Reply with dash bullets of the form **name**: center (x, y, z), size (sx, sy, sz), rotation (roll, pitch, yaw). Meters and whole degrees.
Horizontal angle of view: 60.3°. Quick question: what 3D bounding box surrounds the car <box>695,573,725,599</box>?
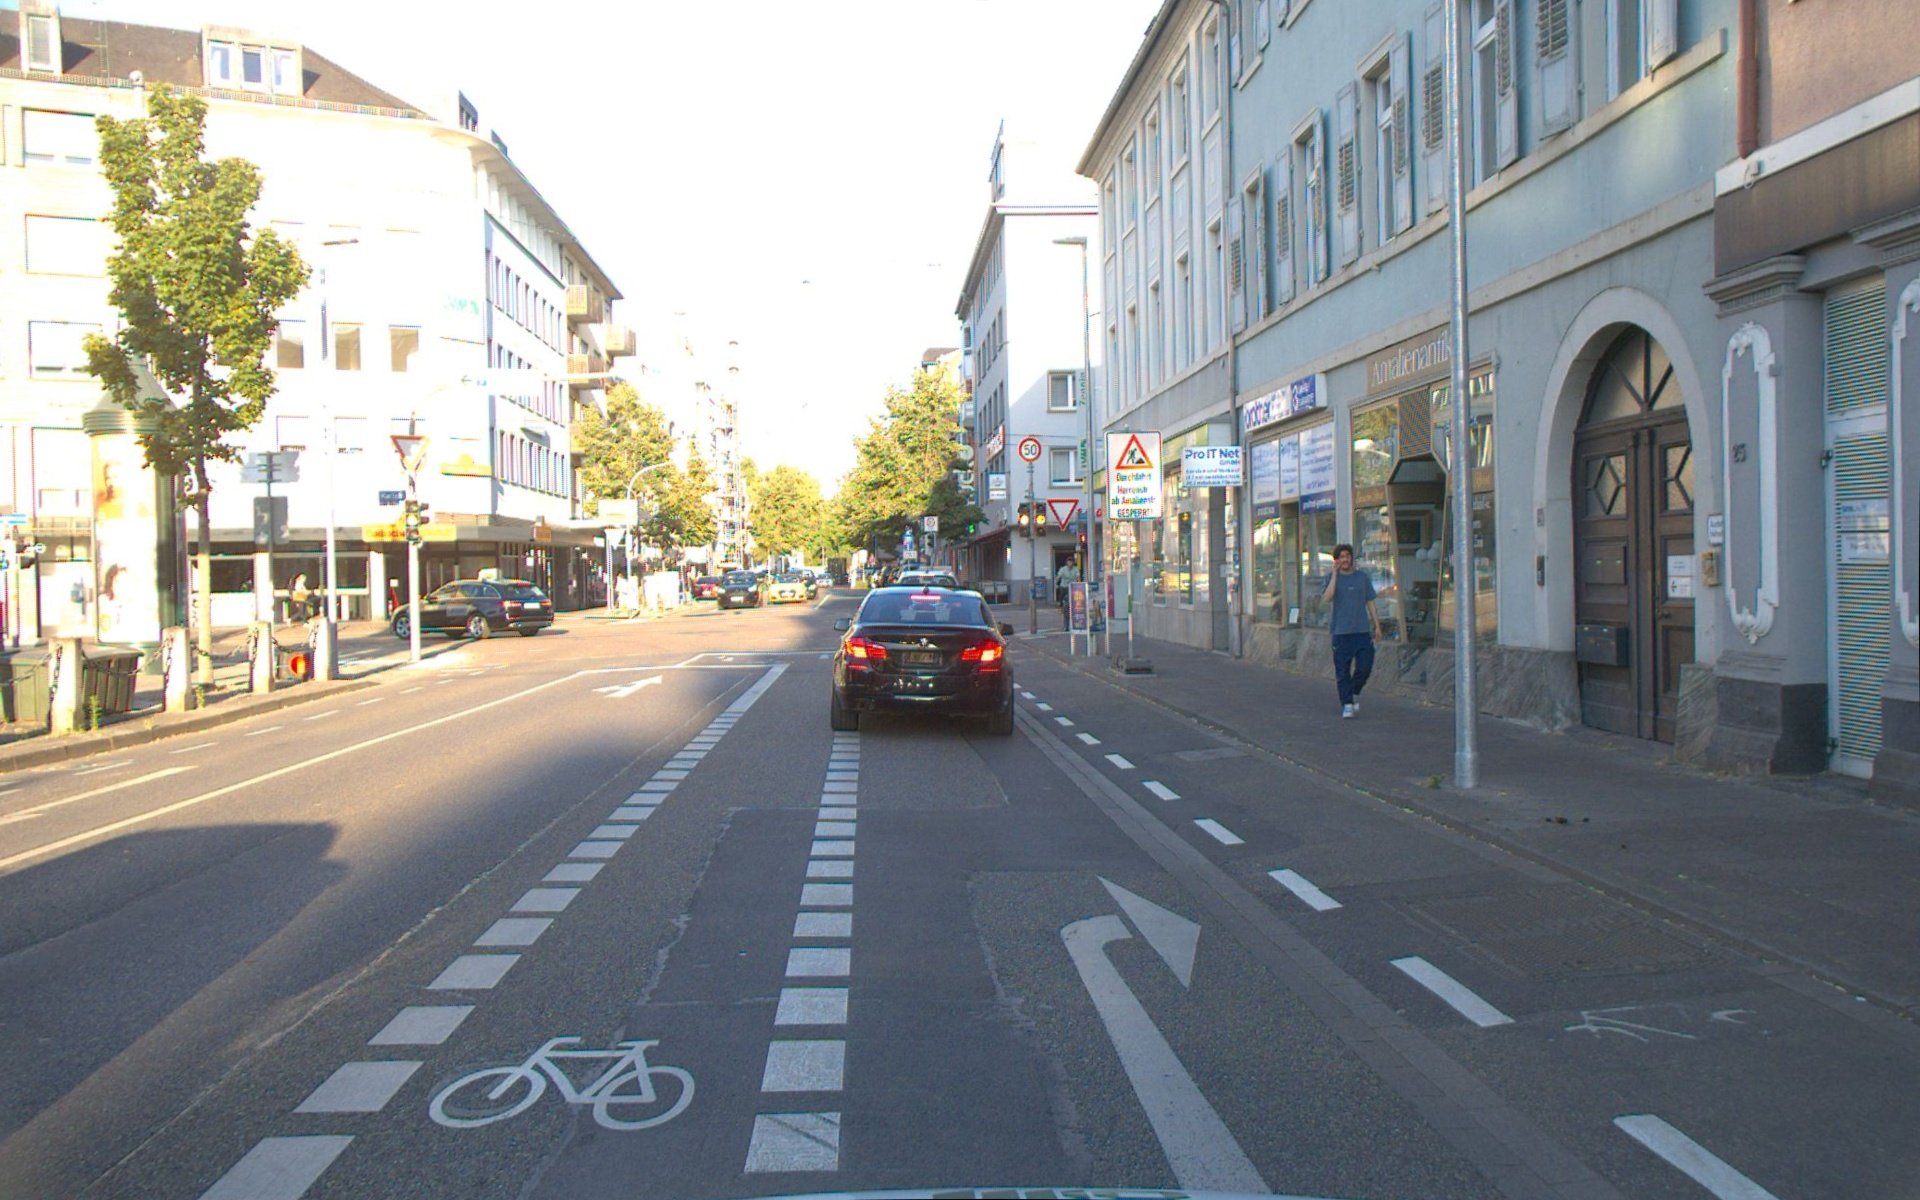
- **car**: center (-15.201, -0.882, 100.503), size (1.702, 1.487, 3.992), rotation (-2, 1, -9)

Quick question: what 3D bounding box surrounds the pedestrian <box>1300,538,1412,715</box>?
- **pedestrian**: center (3.902, 0.246, 16.346), size (0.807, 1.670, 0.870), rotation (-2, 1, -5)

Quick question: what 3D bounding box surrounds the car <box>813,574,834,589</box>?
- **car**: center (-13.036, -1.755, 157.779), size (1.702, 1.315, 3.992), rotation (-1, 1, -9)

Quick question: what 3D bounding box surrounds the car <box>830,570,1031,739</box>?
- **car**: center (-0.440, 0.478, 17.866), size (1.866, 1.567, 4.446), rotation (1, 1, -4)

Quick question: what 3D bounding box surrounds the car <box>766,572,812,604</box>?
- **car**: center (-8.237, -0.596, 79.418), size (1.957, 1.467, 3.992), rotation (-2, 1, -9)

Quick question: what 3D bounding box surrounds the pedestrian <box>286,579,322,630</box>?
- **pedestrian**: center (-20.870, 0.143, 52.611), size (0.935, 1.564, 0.900), rotation (-2, 1, -27)

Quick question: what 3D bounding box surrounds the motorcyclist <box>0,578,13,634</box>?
- **motorcyclist**: center (-23.524, 0.150, 39.976), size (0.984, 1.342, 0.758), rotation (-2, 1, -37)

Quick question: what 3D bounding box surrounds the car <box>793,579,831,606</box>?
- **car**: center (-7.723, -0.428, 86.222), size (1.702, 1.315, 3.992), rotation (-1, 1, -9)

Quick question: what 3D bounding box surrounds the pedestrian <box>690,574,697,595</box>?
- **pedestrian**: center (-18.904, -1.101, 117.418), size (0.435, 1.441, 0.525), rotation (-1, 1, -6)

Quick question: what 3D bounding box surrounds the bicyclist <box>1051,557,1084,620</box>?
- **bicyclist**: center (2.670, -0.291, 41.059), size (0.707, 1.534, 0.899), rotation (-1, 1, -2)

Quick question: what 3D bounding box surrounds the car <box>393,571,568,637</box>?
- **car**: center (-12.430, 0.098, 42.834), size (4.352, 1.623, 1.875), rotation (0, 1, 30)

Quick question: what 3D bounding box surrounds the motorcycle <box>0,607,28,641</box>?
- **motorcycle**: center (-23.682, 0.606, 39.904), size (2.013, 0.794, 0.654), rotation (-2, 1, -39)

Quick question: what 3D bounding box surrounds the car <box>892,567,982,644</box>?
- **car**: center (-0.455, 0.077, 37.158), size (1.794, 1.603, 4.102), rotation (-1, 1, 2)

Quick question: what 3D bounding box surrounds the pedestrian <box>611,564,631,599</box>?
- **pedestrian**: center (-16.973, -0.943, 82.756), size (0.807, 1.705, 0.871), rotation (-2, 1, -4)

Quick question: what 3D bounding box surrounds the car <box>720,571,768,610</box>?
- **car**: center (-9.672, -0.460, 73.860), size (1.957, 1.646, 3.992), rotation (-1, 1, -9)

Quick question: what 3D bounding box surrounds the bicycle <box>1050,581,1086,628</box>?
- **bicycle**: center (2.678, 0.095, 41.102), size (0.676, 1.126, 1.895), rotation (-1, 1, -3)

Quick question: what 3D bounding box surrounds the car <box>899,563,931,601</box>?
- **car**: center (-2.273, -0.905, 82.972), size (1.394, 1.887, 3.049), rotation (0, 0, -6)
